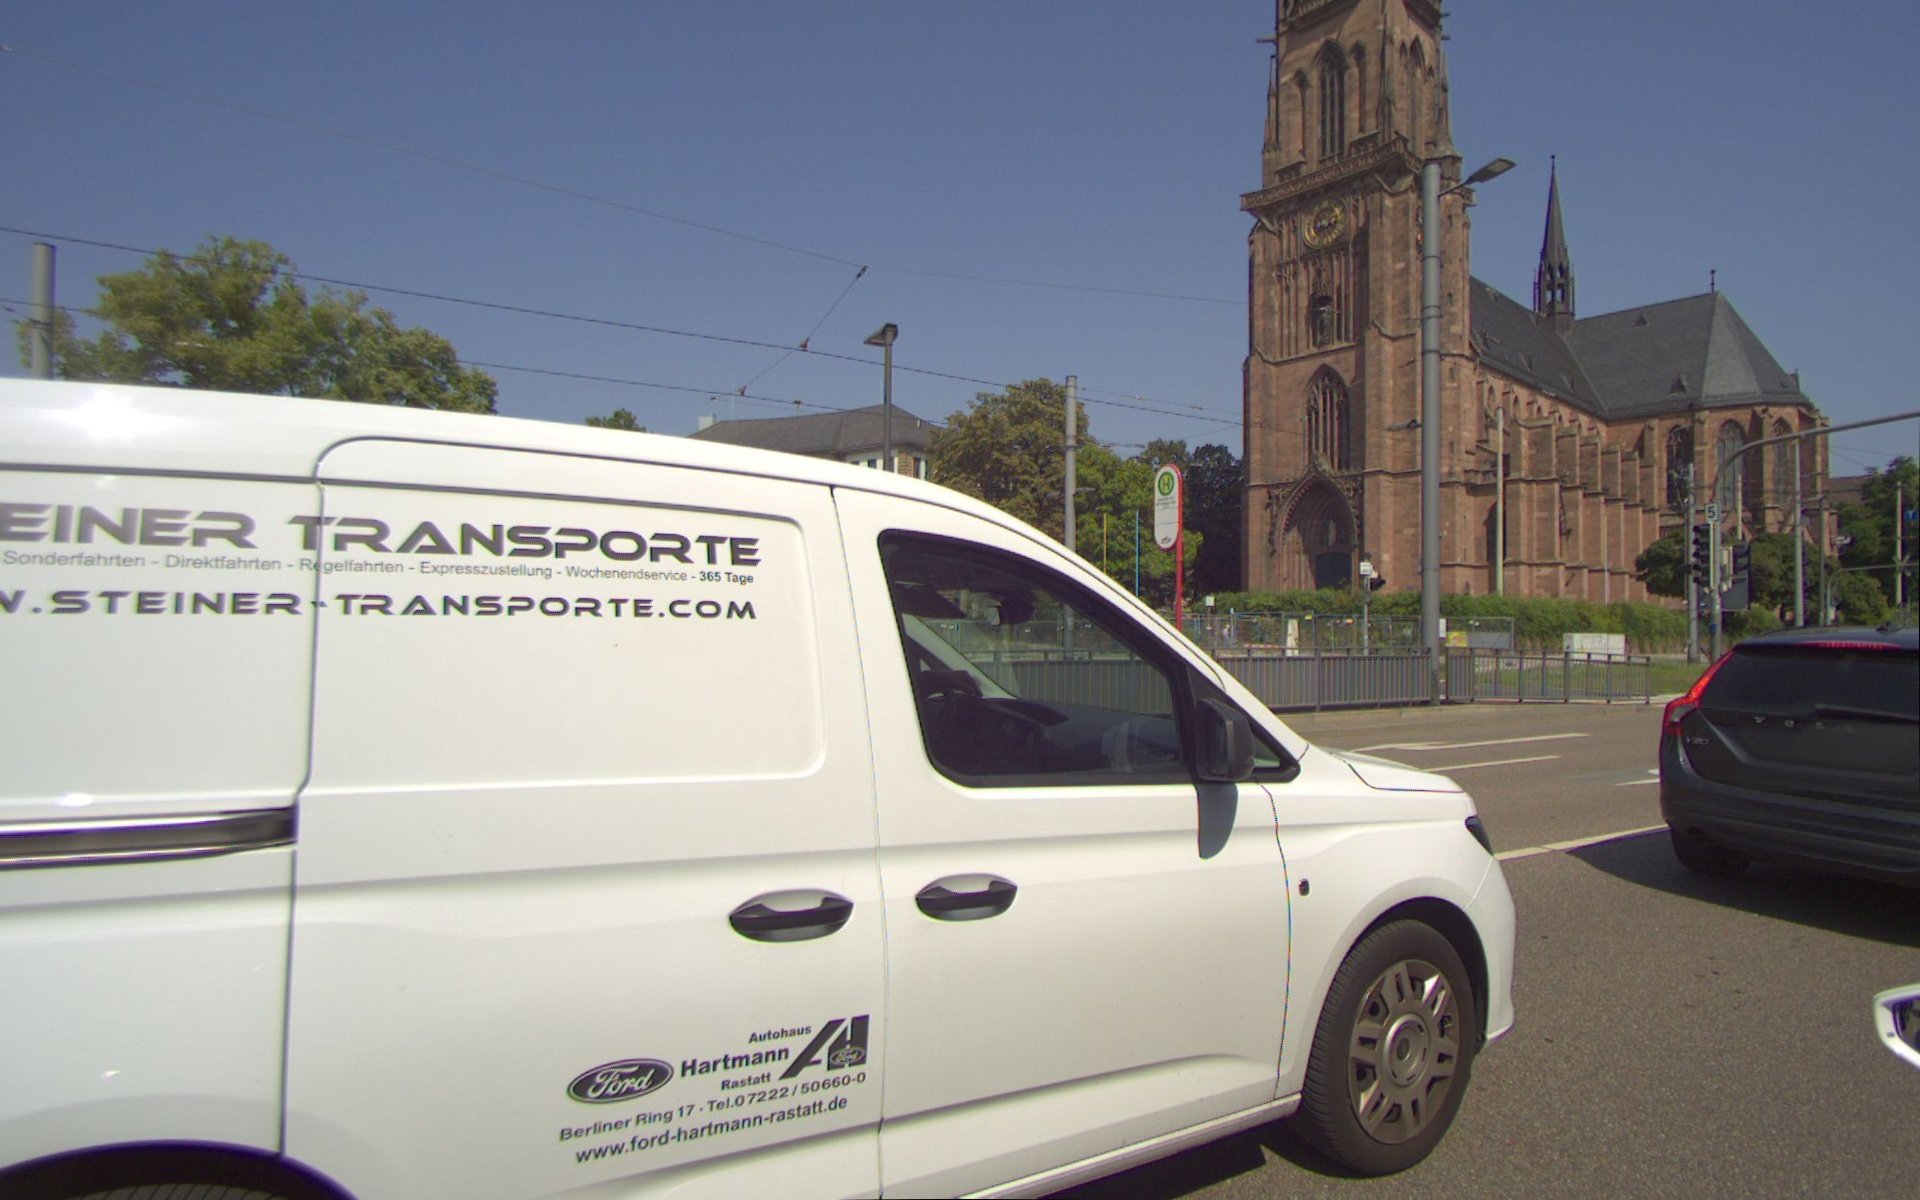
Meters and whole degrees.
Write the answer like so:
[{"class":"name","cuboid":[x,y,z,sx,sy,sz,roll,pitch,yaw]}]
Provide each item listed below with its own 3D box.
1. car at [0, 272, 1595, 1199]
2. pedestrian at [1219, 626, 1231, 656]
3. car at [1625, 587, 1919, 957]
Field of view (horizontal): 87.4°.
[{"class":"car","cuboid":[-0.346,0.558,2.695,4.189,1.844,1.739,1,-1,-30]},{"class":"pedestrian","cuboid":[13.910,2.151,52.651,0.533,1.551,0.436,0,-1,5]},{"class":"car","cuboid":[5.913,0.796,5.818,4.257,1.636,1.739,1,0,-30]}]
